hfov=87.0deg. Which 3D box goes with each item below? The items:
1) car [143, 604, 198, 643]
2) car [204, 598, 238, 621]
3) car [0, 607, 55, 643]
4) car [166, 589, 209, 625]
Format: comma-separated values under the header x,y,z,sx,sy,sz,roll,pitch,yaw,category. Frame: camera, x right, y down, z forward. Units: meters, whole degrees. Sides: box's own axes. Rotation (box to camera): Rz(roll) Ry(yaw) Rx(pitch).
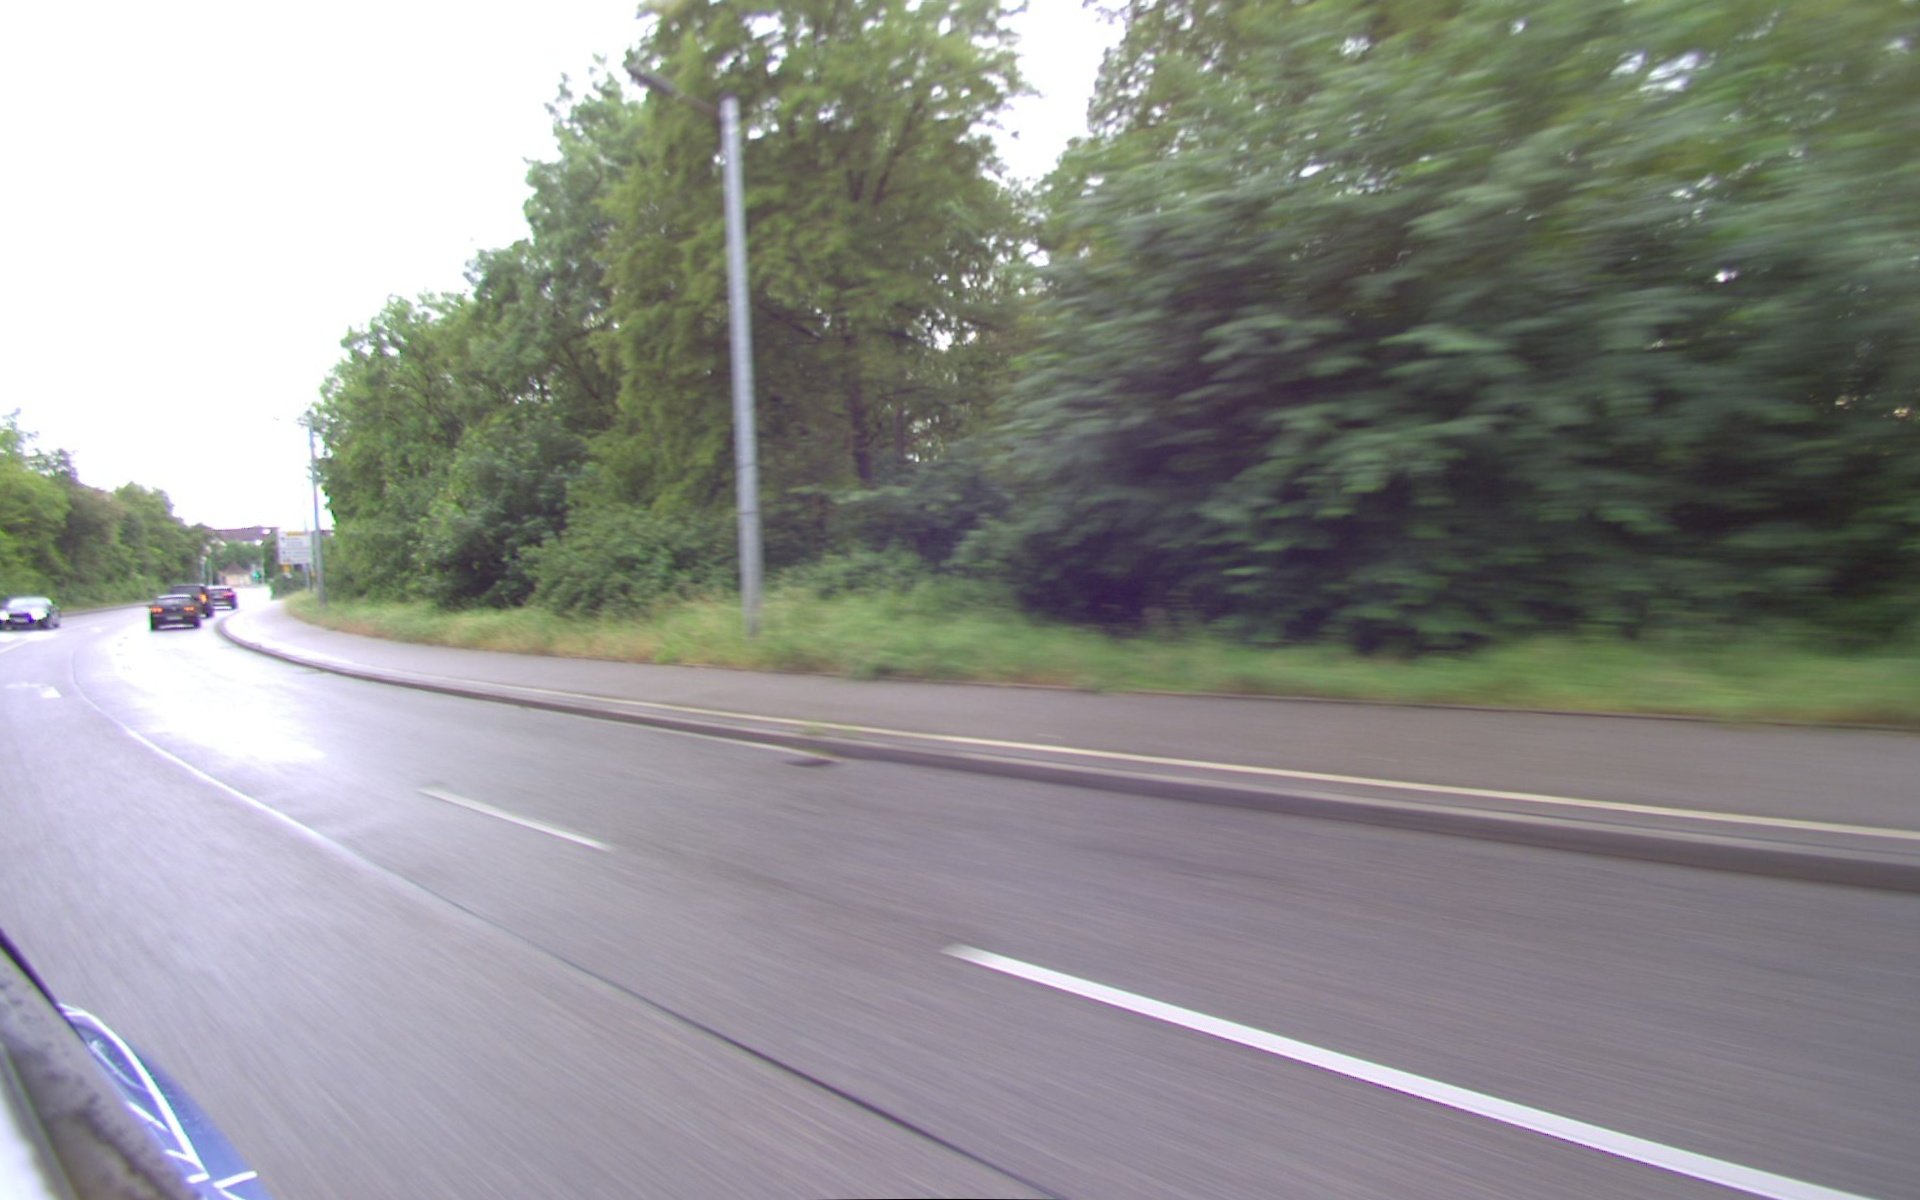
x,y,z,sx,sy,sz,roll,pitch,yaw,category
-35.003,1.059,44.902,1.804,1.451,4.008,-3,-2,-38,car
-53.743,0.694,73.544,1.803,1.532,4.008,3,-3,-38,car
-42.645,1.164,46.091,1.803,1.532,4.008,3,-3,-38,car
-44.066,0.438,57.696,1.803,1.857,4.720,3,-3,-38,car
